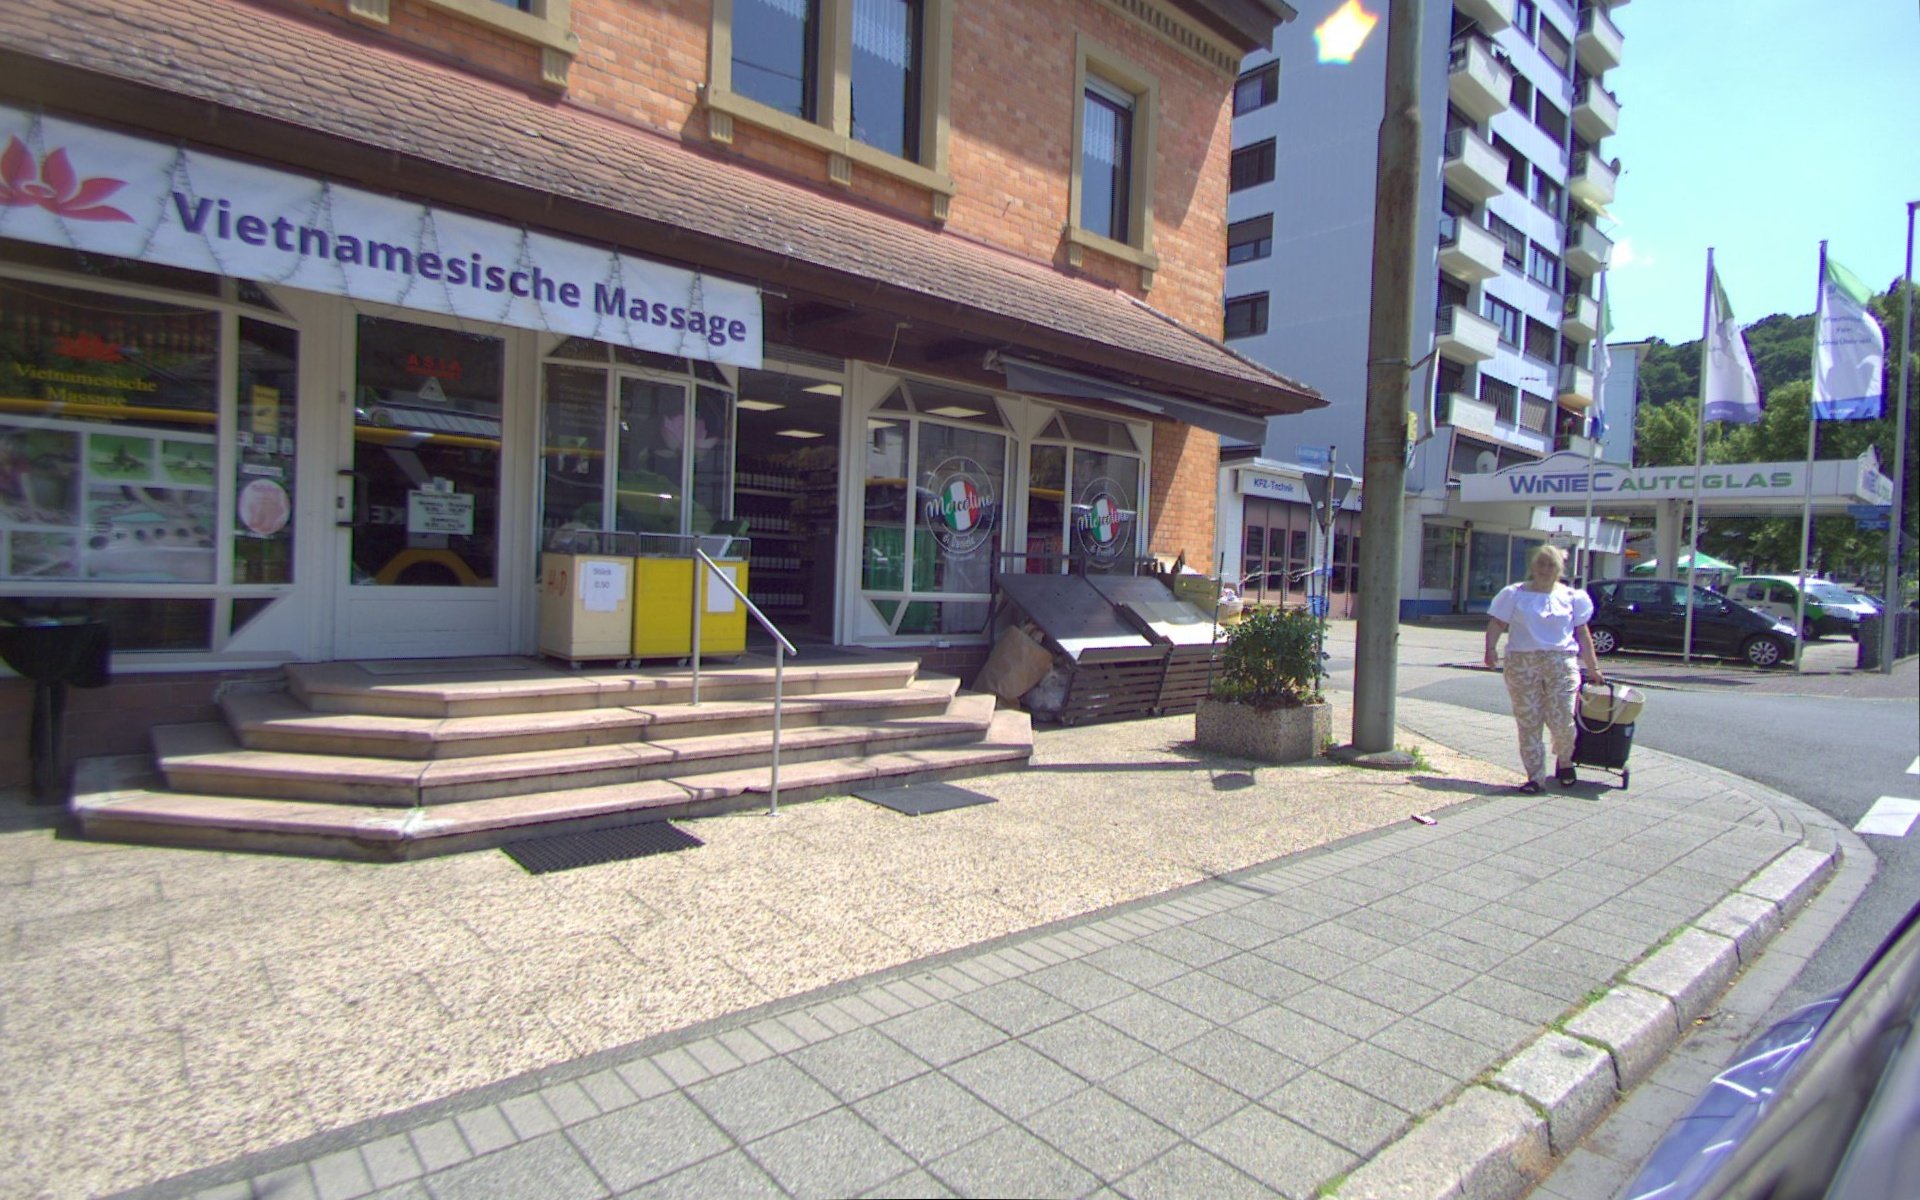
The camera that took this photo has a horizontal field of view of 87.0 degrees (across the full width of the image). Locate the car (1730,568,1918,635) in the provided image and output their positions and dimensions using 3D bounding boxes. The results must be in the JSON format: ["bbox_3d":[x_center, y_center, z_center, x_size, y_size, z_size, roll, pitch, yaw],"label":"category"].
[{"bbox_3d":[25.200,-0.014,29.753,1.788,1.812,4.292,-1,1,-1],"label":"car"}]

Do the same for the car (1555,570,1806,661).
[{"bbox_3d":[14.197,0.225,20.135,3.867,1.562,1.818,3,3,37],"label":"car"}]

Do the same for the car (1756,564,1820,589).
[{"bbox_3d":[69.009,-1.956,84.372,5.273,2.039,2.405,-1,1,-30],"label":"car"}]

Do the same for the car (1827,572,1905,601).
[{"bbox_3d":[66.765,-1.045,74.569,6.246,2.039,2.405,-1,1,-30],"label":"car"}]

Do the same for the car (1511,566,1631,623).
[{"bbox_3d":[19.005,-0.190,31.407,4.622,1.646,1.750,0,2,-40],"label":"car"}]

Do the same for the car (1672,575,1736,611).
[{"bbox_3d":[31.807,-0.333,43.358,1.699,1.417,4.239,1,2,30],"label":"car"}]

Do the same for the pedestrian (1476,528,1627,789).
[{"bbox_3d":[4.068,0.366,6.962,0.704,1.661,0.650,4,2,40],"label":"pedestrian"}]

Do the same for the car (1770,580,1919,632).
[{"bbox_3d":[29.668,0.168,33.648,1.664,1.446,3.984,1,3,-17],"label":"car"}]

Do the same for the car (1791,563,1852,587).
[{"bbox_3d":[74.638,-2.193,87.696,5.273,2.039,2.405,-1,1,-30],"label":"car"}]
